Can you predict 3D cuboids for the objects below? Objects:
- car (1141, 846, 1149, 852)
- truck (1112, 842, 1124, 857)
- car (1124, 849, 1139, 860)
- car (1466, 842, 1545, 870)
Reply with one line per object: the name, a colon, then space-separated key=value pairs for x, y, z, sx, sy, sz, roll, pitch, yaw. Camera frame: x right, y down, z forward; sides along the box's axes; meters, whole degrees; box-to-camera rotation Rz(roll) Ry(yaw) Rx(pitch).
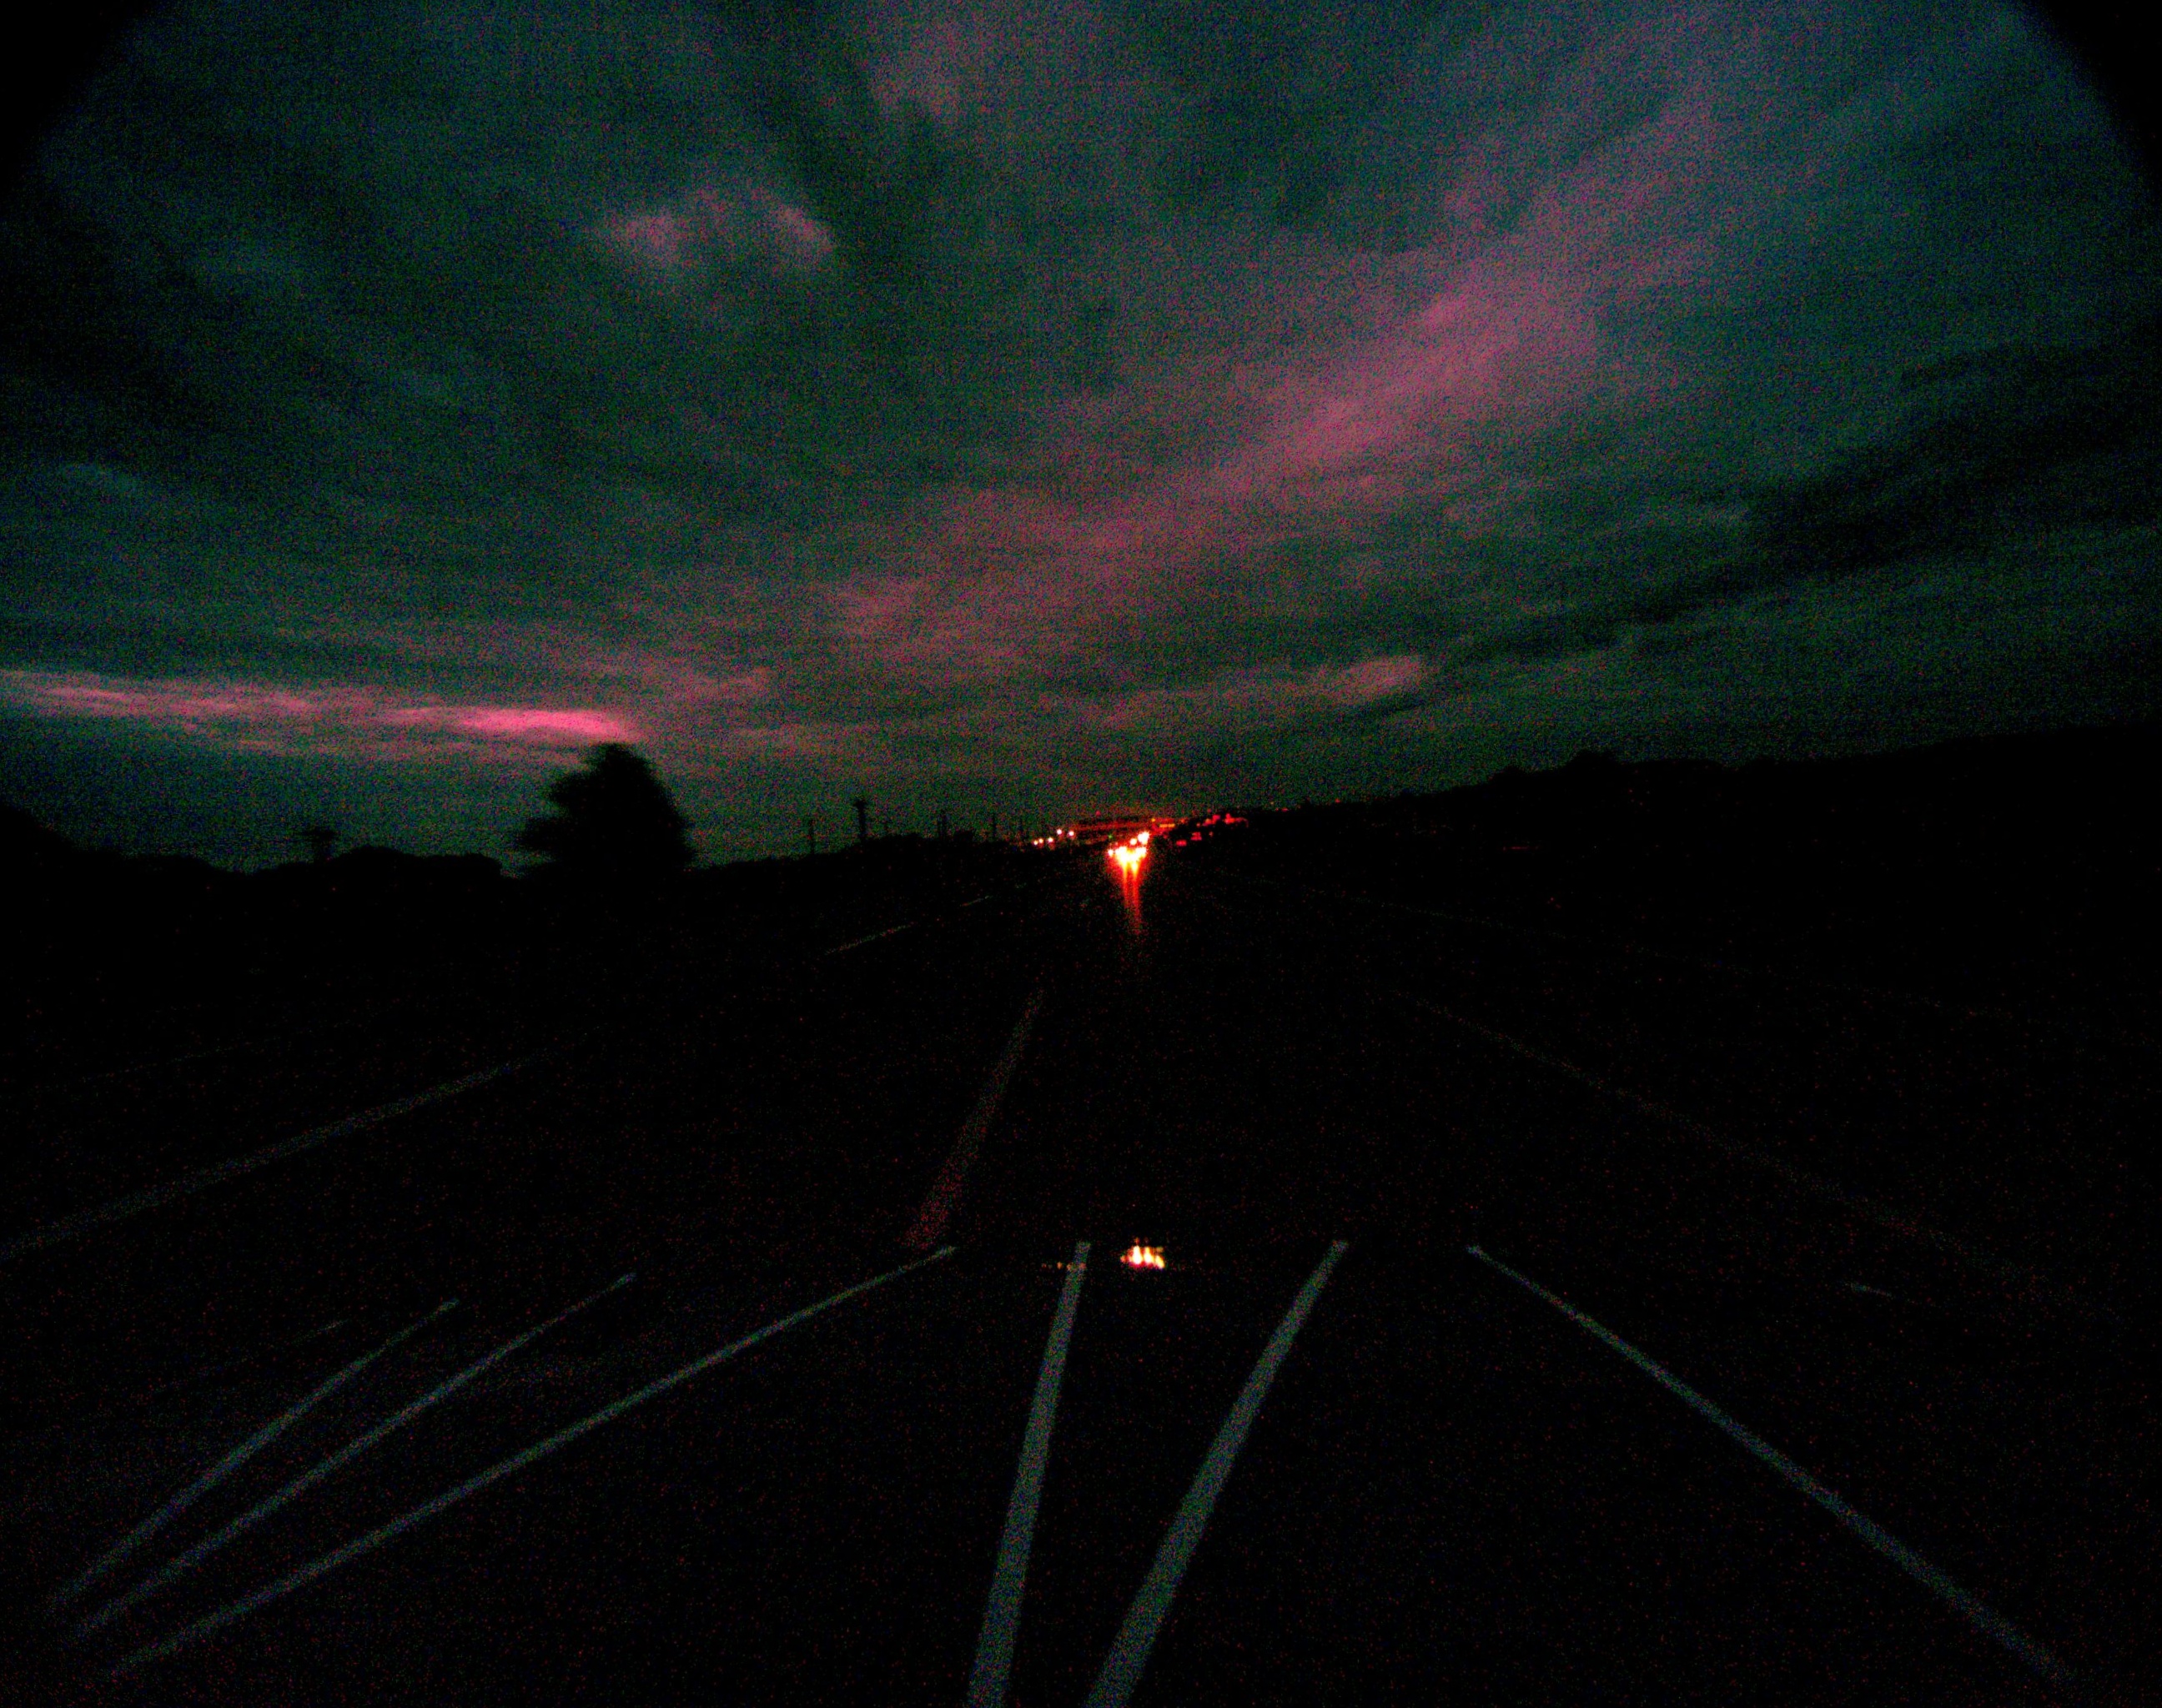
car: x=16.863 y=-1.415 z=200.852 sx=1.998 sy=1.342 sz=4.175 roll=-5 pitch=1 yaw=4
truck: x=11.081 y=-1.302 z=228.964 sx=3.059 sy=4.047 sz=10.524 roll=-2 pitch=0 yaw=5
car: x=6.629 y=0.069 z=99.337 sx=1.998 sy=1.342 sz=4.176 roll=0 pitch=1 yaw=4
car: x=23.829 y=0.109 z=42.857 sx=1.998 sy=1.395 sz=4.329 roll=-3 pitch=1 yaw=1
